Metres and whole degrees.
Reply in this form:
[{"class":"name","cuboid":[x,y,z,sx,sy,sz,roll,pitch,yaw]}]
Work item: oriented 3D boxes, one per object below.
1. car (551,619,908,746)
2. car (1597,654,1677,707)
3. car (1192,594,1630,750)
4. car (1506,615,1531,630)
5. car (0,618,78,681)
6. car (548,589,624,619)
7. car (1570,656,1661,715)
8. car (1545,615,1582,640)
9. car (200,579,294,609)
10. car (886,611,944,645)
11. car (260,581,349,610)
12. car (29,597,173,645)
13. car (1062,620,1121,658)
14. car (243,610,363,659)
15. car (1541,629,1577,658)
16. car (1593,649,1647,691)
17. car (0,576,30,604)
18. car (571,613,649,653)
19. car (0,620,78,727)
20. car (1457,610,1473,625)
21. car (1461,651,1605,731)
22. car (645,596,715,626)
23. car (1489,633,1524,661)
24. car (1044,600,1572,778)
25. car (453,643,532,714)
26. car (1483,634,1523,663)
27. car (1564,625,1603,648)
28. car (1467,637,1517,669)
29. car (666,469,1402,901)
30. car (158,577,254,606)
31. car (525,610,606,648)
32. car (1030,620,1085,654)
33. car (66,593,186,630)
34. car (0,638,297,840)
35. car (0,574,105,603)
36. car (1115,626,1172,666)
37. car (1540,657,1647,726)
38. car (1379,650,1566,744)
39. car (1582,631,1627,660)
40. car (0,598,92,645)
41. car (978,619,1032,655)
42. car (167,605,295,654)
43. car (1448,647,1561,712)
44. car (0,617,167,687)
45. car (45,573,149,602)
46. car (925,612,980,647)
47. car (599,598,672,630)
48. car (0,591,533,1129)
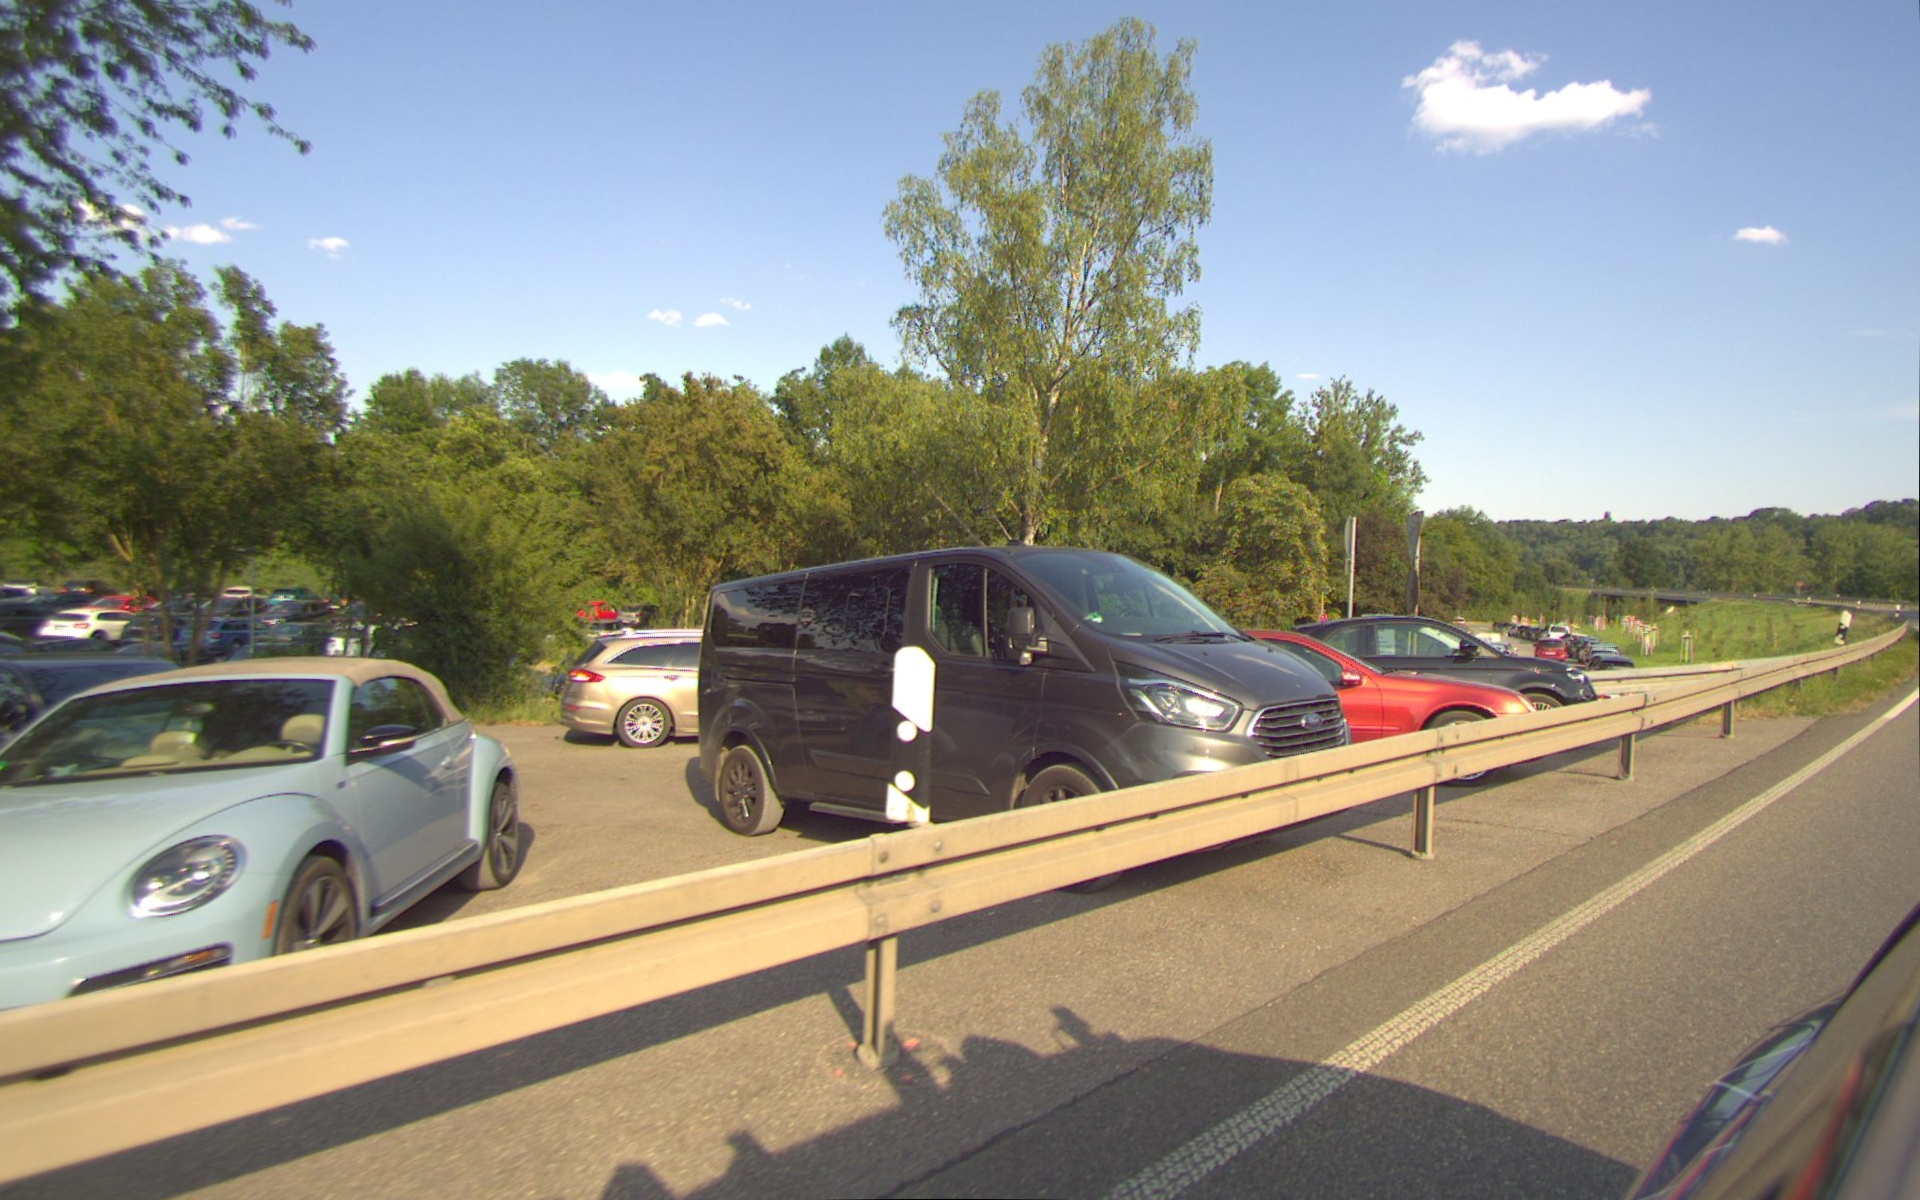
[{"class":"car","cuboid":[-3.122,1.041,13.943,4.494,1.459,1.815,-1,-1,-17]},{"class":"car","cuboid":[25.392,2.951,37.880,1.891,1.578,4.711,5,2,41]},{"class":"car","cuboid":[4.941,0.843,11.714,4.264,1.529,1.711,-3,-3,16]},{"class":"car","cuboid":[67.787,2.716,122.933,1.800,1.679,4.231,3,1,18]},{"class":"car","cuboid":[-28.321,1.446,29.181,1.769,1.712,4.597,0,1,0]},{"class":"car","cuboid":[-22.139,0.209,60.094,1.779,1.712,4.571,1,1,17]},{"class":"car","cuboid":[22.135,2.816,34.081,1.891,1.578,4.711,5,2,41]},{"class":"car","cuboid":[57.289,2.594,96.108,2.102,2.043,5.338,4,2,22]},{"class":"car","cuboid":[-43.578,-0.381,61.971,1.779,1.712,4.571,1,1,17]},{"class":"car","cuboid":[-2.471,1.541,56.592,1.779,1.712,4.571,1,1,17]},{"class":"car","cuboid":[-40.361,-0.278,62.448,1.779,1.712,4.571,1,1,17]},{"class":"car","cuboid":[-33.661,0.781,39.855,1.769,1.712,4.597,0,1,0]},{"class":"car","cuboid":[6.766,1.937,51.666,1.784,1.712,4.560,1,1,23]},{"class":"car","cuboid":[-25.677,1.295,39.774,1.769,1.712,4.597,0,1,0]},{"class":"car","cuboid":[40.116,2.889,67.849,1.882,1.708,5.032,3,1,30]},{"class":"car","cuboid":[31.420,3.267,48.287,1.884,1.578,4.729,5,2,31]},{"class":"car","cuboid":[-57.858,-0.598,59.753,1.769,1.712,4.597,0,1,-1]},{"class":"car","cuboid":[-17.035,1.577,49.444,1.773,1.712,4.588,1,1,7]},{"class":"car","cuboid":[-15.068,1.053,14.422,3.871,1.459,1.805,-1,-1,11]},{"class":"car","cuboid":[67.408,2.342,135.175,1.641,1.687,4.672,1,2,23]},{"class":"car","cuboid":[14.411,2.183,25.334,1.894,1.578,4.704,5,2,45]},{"class":"car","cuboid":[-16.471,0.610,59.788,1.779,1.712,4.571,1,1,17]},{"class":"car","cuboid":[35.300,2.977,65.301,1.694,1.529,3.899,2,1,33]},{"class":"car","cuboid":[3.096,0.847,9.603,4.269,1.418,1.709,-3,-3,19]},{"class":"car","cuboid":[-14.085,2.289,30.673,1.765,1.712,4.606,0,1,-20]},{"class":"car","cuboid":[33.229,2.952,61.872,1.696,1.415,3.896,4,3,35]},{"class":"car","cuboid":[50.967,2.959,82.764,1.877,1.578,4.746,4,2,22]},{"class":"car","cuboid":[30.264,2.951,57.510,1.698,1.415,4.720,4,3,37]},{"class":"car","cuboid":[0.079,0.587,7.160,1.942,1.970,5.140,1,-5,-44]},{"class":"car","cuboid":[-46.036,-0.533,61.921,1.779,1.712,4.571,1,1,17]},{"class":"car","cuboid":[-19.345,1.382,49.893,1.773,1.712,4.588,1,1,7]},{"class":"car","cuboid":[5.208,1.926,53.662,1.873,1.579,4.753,1,1,19]},{"class":"car","cuboid":[-40.610,0.525,49.418,1.773,1.712,4.588,1,1,7]},{"class":"car","cuboid":[-8.127,1.115,9.151,3.685,1.459,1.798,-1,-1,21]},{"class":"car","cuboid":[-54.583,-0.686,60.923,1.779,1.712,4.571,1,1,17]},{"class":"car","cuboid":[9.073,2.212,49.828,1.784,1.712,4.560,1,1,23]},{"class":"car","cuboid":[18.545,2.582,29.536,1.891,1.578,4.711,5,2,41]},{"class":"car","cuboid":[10.905,1.940,21.384,4.699,1.578,1.896,3,2,-42]},{"class":"car","cuboid":[42.937,3.010,67.505,1.879,1.578,4.740,5,2,25]},{"class":"car","cuboid":[-36.901,0.814,39.722,1.769,1.712,4.597,0,1,0]},{"class":"car","cuboid":[2.487,1.946,54.887,1.779,1.712,4.571,1,1,17]},{"class":"car","cuboid":[-28.608,1.114,39.905,1.769,1.712,4.597,0,1,0]},{"class":"car","cuboid":[17.372,2.454,32.194,1.893,1.695,4.706,5,2,44]},{"class":"car","cuboid":[-25.490,1.408,29.112,1.769,1.712,4.597,0,1,0]},{"class":"car","cuboid":[-52.259,-0.743,61.410,1.779,1.712,4.571,1,1,17]},{"class":"car","cuboid":[-0.376,1.602,56.281,1.779,1.712,4.571,1,1,17]},{"class":"car","cuboid":[-18.997,0.784,59.519,1.779,1.712,4.571,1,1,17]},{"class":"car","cuboid":[-3.529,0.927,4.965,1.644,1.575,4.013,-2,-4,-8]}]
